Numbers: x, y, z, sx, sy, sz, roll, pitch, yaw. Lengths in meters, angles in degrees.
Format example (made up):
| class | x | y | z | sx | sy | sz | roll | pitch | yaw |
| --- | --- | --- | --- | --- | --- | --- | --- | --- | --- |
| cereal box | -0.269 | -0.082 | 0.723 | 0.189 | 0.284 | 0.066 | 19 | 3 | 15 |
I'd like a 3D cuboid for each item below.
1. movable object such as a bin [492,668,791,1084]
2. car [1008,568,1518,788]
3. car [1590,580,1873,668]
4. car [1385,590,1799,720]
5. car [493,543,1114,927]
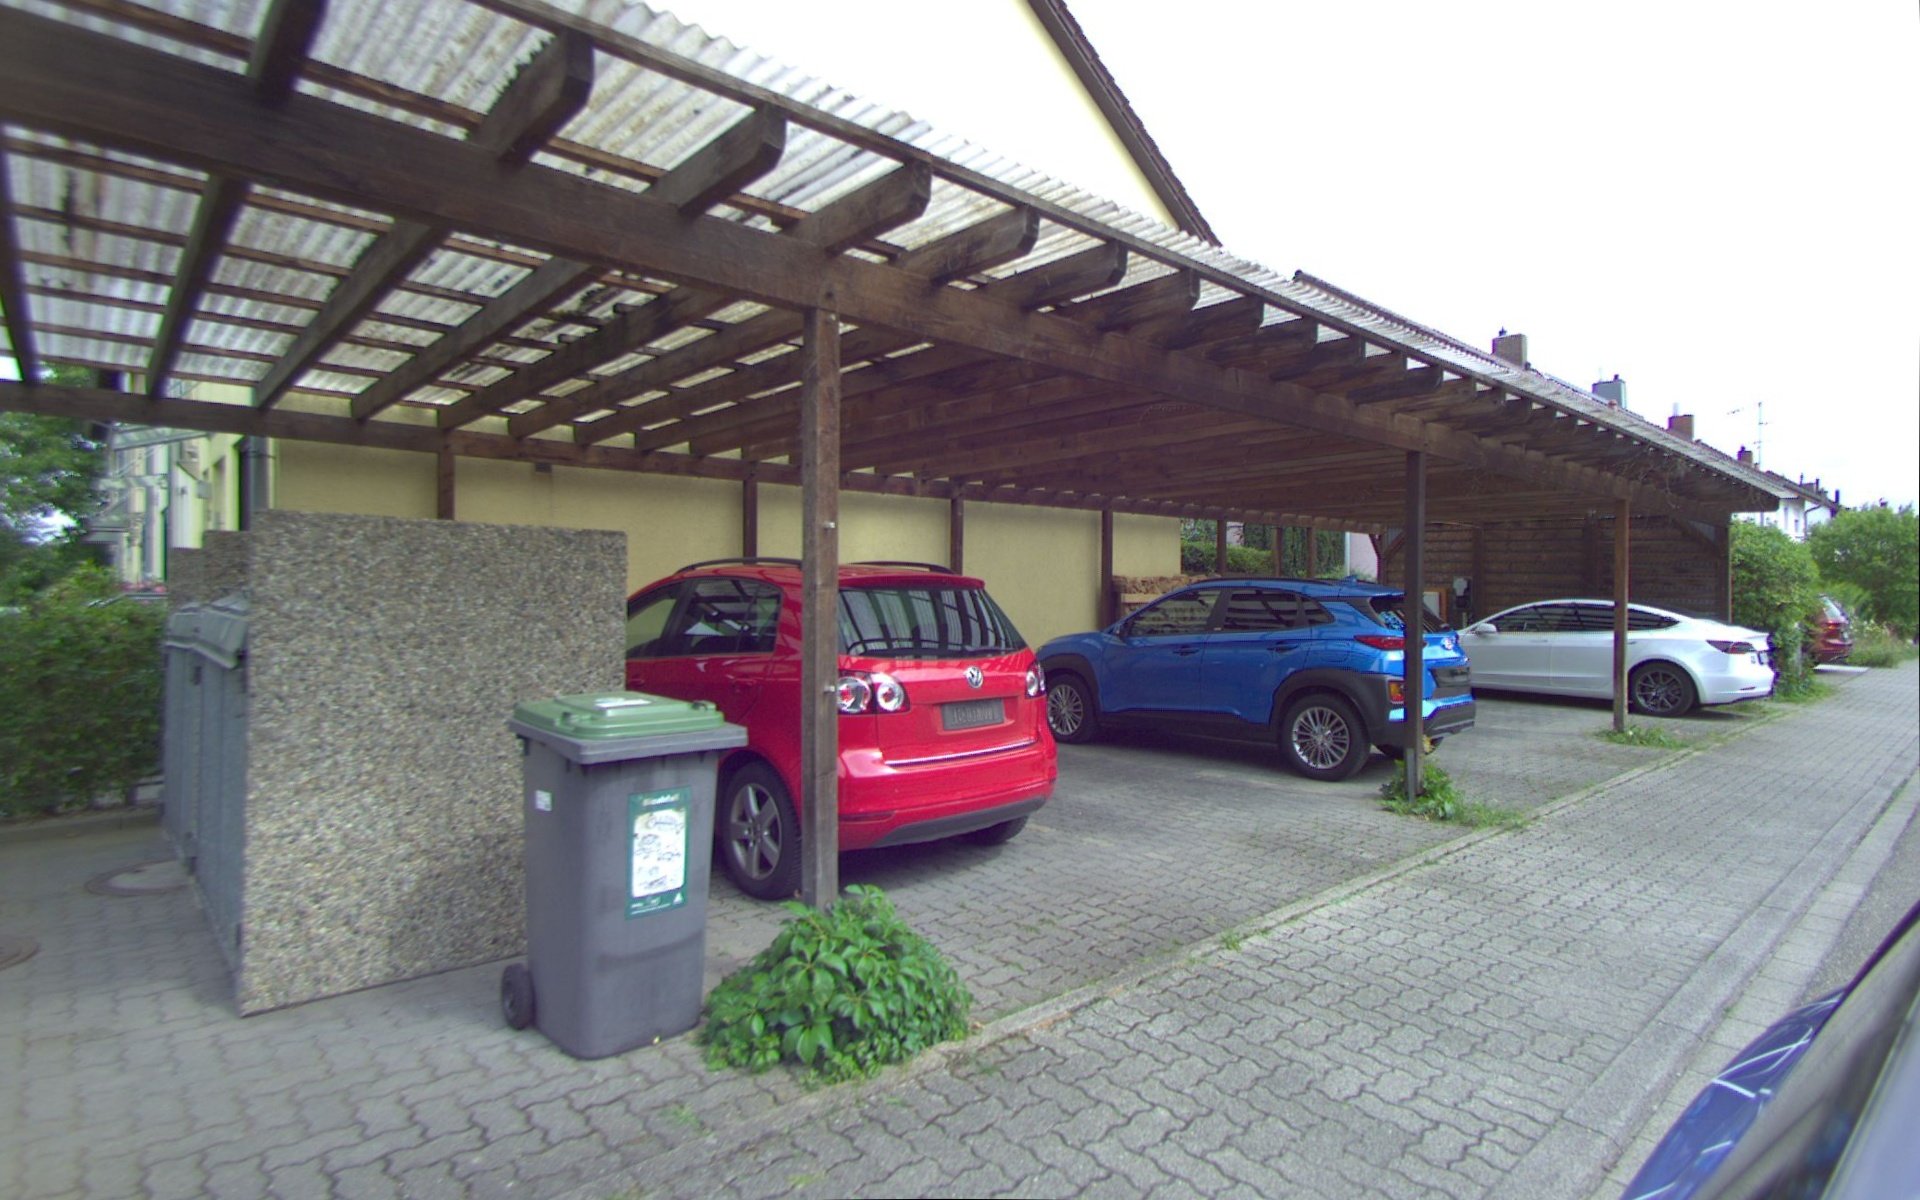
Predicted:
| class | x | y | z | sx | sy | sz | roll | pitch | yaw |
| --- | --- | --- | --- | --- | --- | --- | --- | --- | --- |
| movable object such as a bin | -1.053 | 0.811 | 3.344 | 0.699 | 1.085 | 0.700 | 1 | 1 | 45 |
| car | 2.565 | 0.521 | 9.220 | 1.918 | 1.542 | 4.049 | 0 | 1 | -44 |
| car | 15.483 | 0.403 | 20.494 | 1.901 | 1.579 | 4.277 | 0 | 1 | -41 |
| car | 8.418 | 0.603 | 13.784 | 1.993 | 1.451 | 4.454 | 0 | 1 | -43 |
| car | -1.198 | 0.521 | 6.176 | 1.809 | 1.559 | 3.960 | 0 | 1 | -44 |
